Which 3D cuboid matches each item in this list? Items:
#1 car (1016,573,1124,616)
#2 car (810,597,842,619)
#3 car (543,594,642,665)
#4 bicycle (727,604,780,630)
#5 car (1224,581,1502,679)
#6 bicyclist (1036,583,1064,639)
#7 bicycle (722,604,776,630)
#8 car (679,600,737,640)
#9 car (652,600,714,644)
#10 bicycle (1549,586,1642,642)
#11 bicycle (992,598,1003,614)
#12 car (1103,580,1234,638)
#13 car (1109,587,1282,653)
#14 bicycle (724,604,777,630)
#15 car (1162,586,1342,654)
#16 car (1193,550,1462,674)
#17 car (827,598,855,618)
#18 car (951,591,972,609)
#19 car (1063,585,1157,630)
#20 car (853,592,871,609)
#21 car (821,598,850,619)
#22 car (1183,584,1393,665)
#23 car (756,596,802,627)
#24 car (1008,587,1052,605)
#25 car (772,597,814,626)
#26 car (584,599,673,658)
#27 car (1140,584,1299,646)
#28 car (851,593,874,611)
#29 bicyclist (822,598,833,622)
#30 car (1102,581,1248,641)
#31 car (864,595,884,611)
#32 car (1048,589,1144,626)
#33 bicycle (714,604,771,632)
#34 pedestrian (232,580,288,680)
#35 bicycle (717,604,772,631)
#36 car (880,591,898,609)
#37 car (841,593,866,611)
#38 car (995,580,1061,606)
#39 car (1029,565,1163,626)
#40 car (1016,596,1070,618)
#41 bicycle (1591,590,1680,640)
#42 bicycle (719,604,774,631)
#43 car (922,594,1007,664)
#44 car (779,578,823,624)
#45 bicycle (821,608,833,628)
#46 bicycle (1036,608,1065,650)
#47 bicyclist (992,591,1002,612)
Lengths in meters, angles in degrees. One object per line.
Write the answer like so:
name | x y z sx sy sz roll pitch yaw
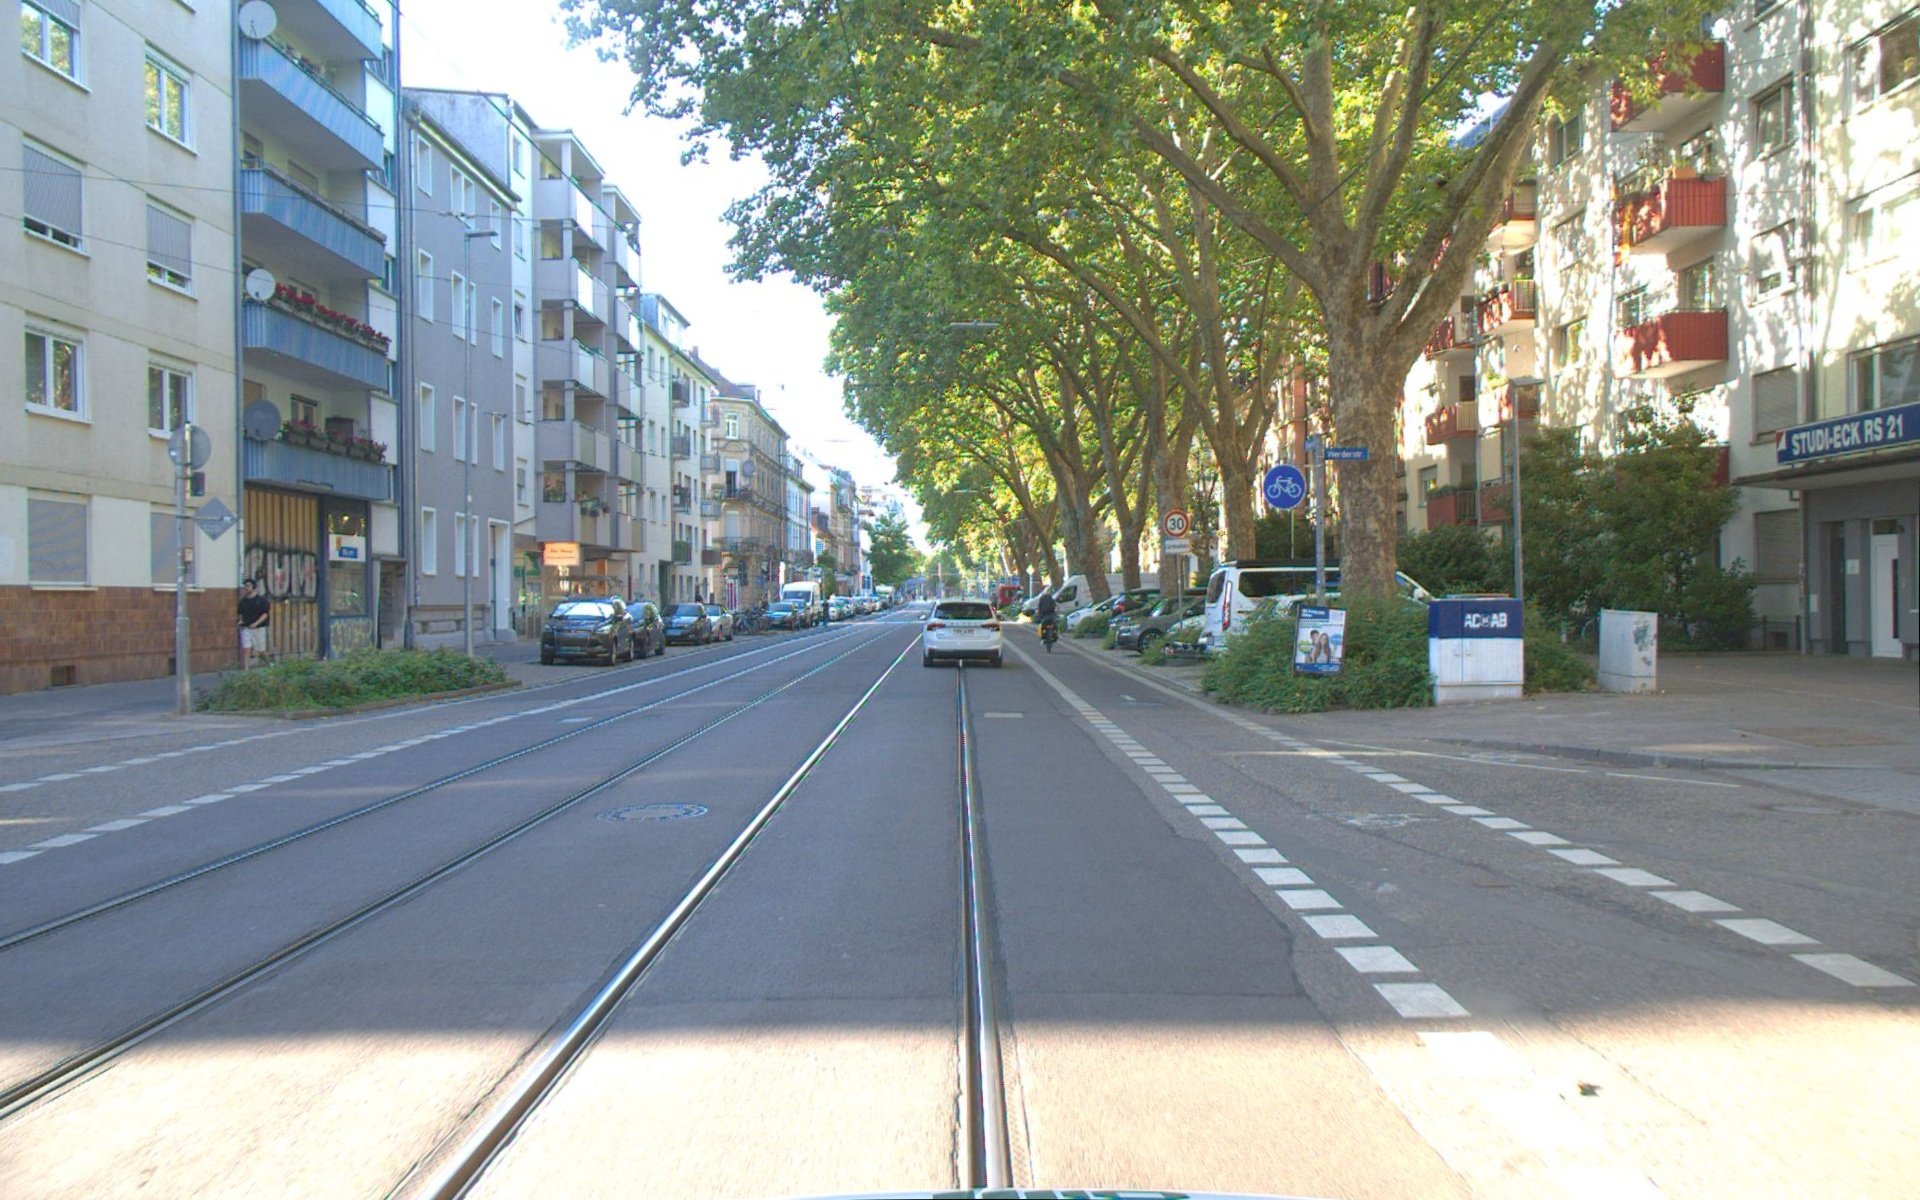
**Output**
car | 6.377 -0.315 96.096 6.007 2.322 2.528 -1 0 -2
car | -9.640 0.567 119.278 1.953 1.557 4.000 -1 0 0
car | -9.365 0.721 42.425 1.668 1.679 4.240 1 0 -2
bicycle | -9.960 0.817 79.853 2.476 1.193 0.718 1 -2 -7
car | 6.733 0.490 27.909 4.210 1.505 1.830 -1 0 -2
bicyclist | 2.416 0.296 44.461 0.664 1.468 1.047 -1 0 0
bicycle | -9.955 0.814 77.949 2.475 1.193 0.718 1 -2 -6
car | -9.571 0.754 63.041 1.454 1.428 3.991 -1 0 2
car | -9.672 0.744 58.029 1.620 1.462 3.835 -1 0 -2
bicycle | 14.602 0.329 38.015 1.908 1.177 0.571 -3 0 -8
bicycle | 2.493 0.400 110.762 0.636 1.089 1.582 -1 0 -2
car | 6.612 0.278 52.613 3.906 1.709 1.723 -1 0 -2
car | 5.886 0.479 41.692 4.059 1.540 1.930 -1 0 -2
bicycle | -9.962 0.812 78.798 2.475 1.193 0.718 1 -2 -6
car | 6.912 0.455 39.448 3.953 1.505 1.923 -1 0 0
car | 6.705 0.203 30.487 4.453 2.113 2.000 -1 0 -3
car | -9.586 0.641 133.241 1.953 1.557 4.000 -1 0 0
car | 0.119 0.028 144.439 1.725 1.501 4.000 -1 0 0
car | 5.885 0.293 65.220 3.559 1.695 1.822 -1 0 2
car | -11.858 0.042 200.370 1.953 2.049 4.000 -1 0 0
car | -9.649 0.616 128.431 1.953 1.557 4.000 -1 0 0
car | 6.538 0.467 33.199 3.820 1.505 1.722 -1 0 -3
car | -9.503 0.604 87.227 1.953 1.557 4.000 -1 0 0
car | 6.404 -0.360 151.628 3.967 1.567 2.000 -1 0 -1
car | -9.370 0.629 93.009 1.953 1.557 4.000 -1 0 0
car | -9.449 0.780 47.405 1.667 1.571 4.241 1 0 0
car | 6.883 0.396 44.141 3.906 1.540 1.760 -1 0 -2
car | -9.126 0.204 155.282 1.953 1.668 4.000 0 0 0
bicyclist | -7.485 0.548 93.326 0.585 1.308 0.916 -1 0 -3
car | 6.513 0.320 50.306 4.149 1.695 1.847 -1 0 -2
car | -9.418 0.343 181.107 1.953 1.668 4.000 0 0 0
car | 6.114 0.349 74.641 3.971 1.567 1.997 -1 0 -6
bicycle | -9.876 0.824 75.269 2.509 1.193 0.870 2 -2 -40
pedestrian | -13.205 0.558 31.219 0.650 1.858 0.965 -1 0 -2
bicycle | -9.909 0.822 76.075 2.476 1.193 0.718 1 -2 -7
car | -8.727 -0.008 202.867 1.953 2.049 4.000 -1 0 0
car | -9.563 0.198 148.589 1.953 1.557 4.000 -1 0 0
car | 6.433 -0.647 156.321 6.007 2.322 2.528 -1 0 -2
car | 6.328 -0.209 77.477 6.007 2.681 2.528 -1 0 -2
car | 6.283 0.522 125.564 3.967 1.567 2.000 -1 0 -1
bicycle | 15.498 0.340 37.955 1.756 1.059 0.617 -3 0 -5
bicycle | -9.926 0.819 76.949 2.475 1.193 0.718 1 -2 -6
car | 0.095 0.586 35.981 1.725 1.408 4.000 -1 0 0
car | -9.500 0.073 98.952 2.134 2.642 4.948 -1 0 0
bicycle | -7.477 1.008 93.311 0.593 1.089 1.582 -1 0 -3
bicycle | 2.429 0.766 44.502 0.667 1.089 1.781 -1 0 0
bicyclist | 2.481 0.115 110.775 0.636 1.367 0.934 -1 0 -2
